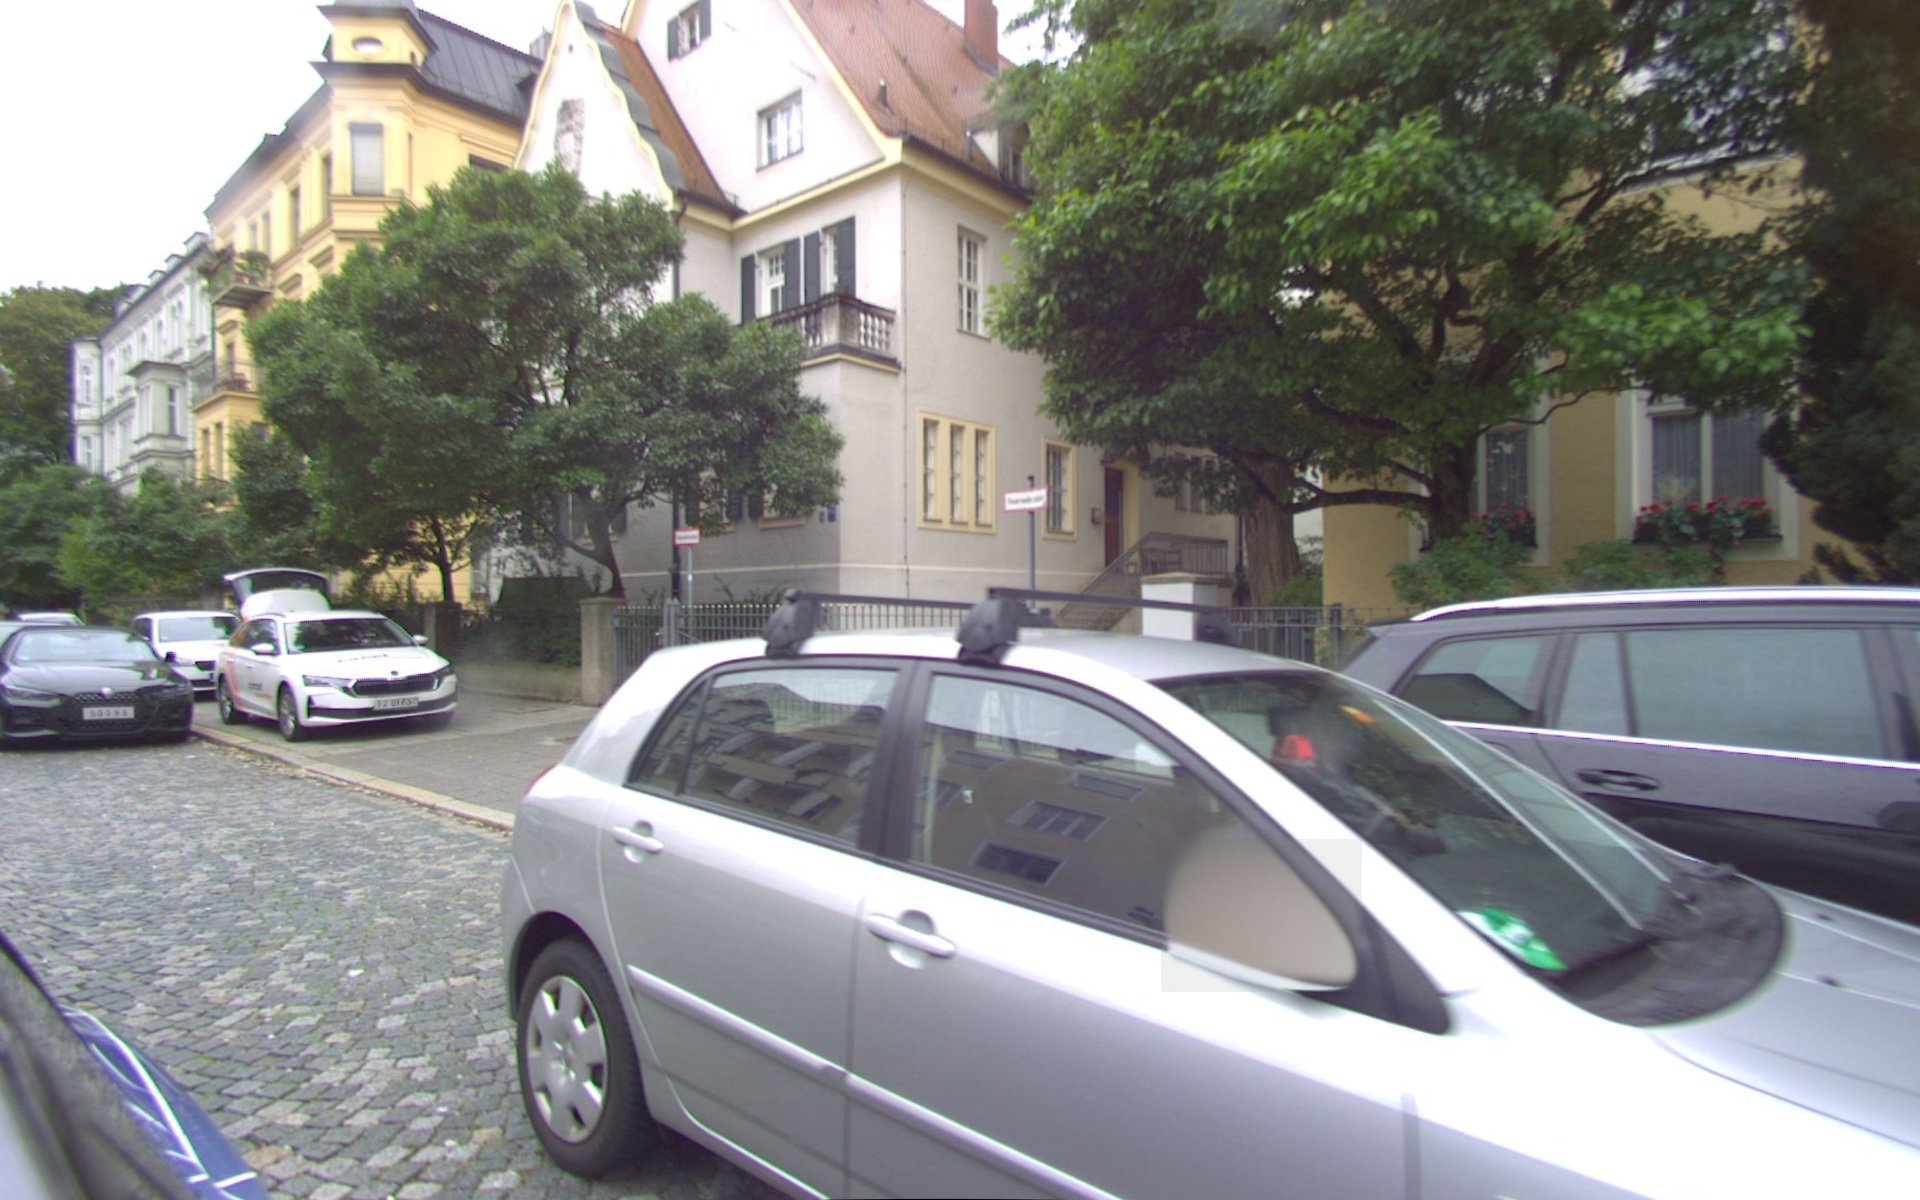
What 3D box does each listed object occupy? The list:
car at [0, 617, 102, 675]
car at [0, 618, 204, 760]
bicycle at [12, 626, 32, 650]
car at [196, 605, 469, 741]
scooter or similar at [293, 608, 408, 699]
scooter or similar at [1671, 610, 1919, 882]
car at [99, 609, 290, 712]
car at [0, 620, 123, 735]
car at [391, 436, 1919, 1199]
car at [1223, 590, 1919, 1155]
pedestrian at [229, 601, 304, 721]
[{"bbox_3d":[-25.937,1.243,28.671,4.387,1.477,1.823,-1,0,41],"label":"car"},{"bbox_3d":[-11.247,0.995,12.732,4.911,1.466,1.795,-1,-3,42],"label":"car"},{"bbox_3d":[-43.852,1.756,47.302,1.694,1.059,0.458,0,3,41],"label":"bicycle"},{"bbox_3d":[-8.247,0.829,13.112,4.559,1.427,1.757,-1,1,42],"label":"car"},{"bbox_3d":[-11.124,0.937,18.422,2.633,1.535,1.051,-1,-1,41],"label":"scooter or similar"},{"bbox_3d":[4.589,0.679,5.118,1.521,1.209,0.946,-1,1,41],"label":"scooter or similar"},{"bbox_3d":[-13.592,0.973,17.868,4.463,1.548,1.722,-1,1,40],"label":"car"},{"bbox_3d":[-14.943,1.132,16.087,4.533,1.615,1.722,-1,-2,40],"label":"car"},{"bbox_3d":[0.502,0.688,2.290,4.387,1.574,1.696,-1,-3,41],"label":"car"},{"bbox_3d":[3.420,0.741,3.217,4.718,1.508,1.698,-1,1,41],"label":"car"},{"bbox_3d":[-9.931,0.849,14.491,0.582,1.662,0.758,-1,0,42],"label":"pedestrian"}]
